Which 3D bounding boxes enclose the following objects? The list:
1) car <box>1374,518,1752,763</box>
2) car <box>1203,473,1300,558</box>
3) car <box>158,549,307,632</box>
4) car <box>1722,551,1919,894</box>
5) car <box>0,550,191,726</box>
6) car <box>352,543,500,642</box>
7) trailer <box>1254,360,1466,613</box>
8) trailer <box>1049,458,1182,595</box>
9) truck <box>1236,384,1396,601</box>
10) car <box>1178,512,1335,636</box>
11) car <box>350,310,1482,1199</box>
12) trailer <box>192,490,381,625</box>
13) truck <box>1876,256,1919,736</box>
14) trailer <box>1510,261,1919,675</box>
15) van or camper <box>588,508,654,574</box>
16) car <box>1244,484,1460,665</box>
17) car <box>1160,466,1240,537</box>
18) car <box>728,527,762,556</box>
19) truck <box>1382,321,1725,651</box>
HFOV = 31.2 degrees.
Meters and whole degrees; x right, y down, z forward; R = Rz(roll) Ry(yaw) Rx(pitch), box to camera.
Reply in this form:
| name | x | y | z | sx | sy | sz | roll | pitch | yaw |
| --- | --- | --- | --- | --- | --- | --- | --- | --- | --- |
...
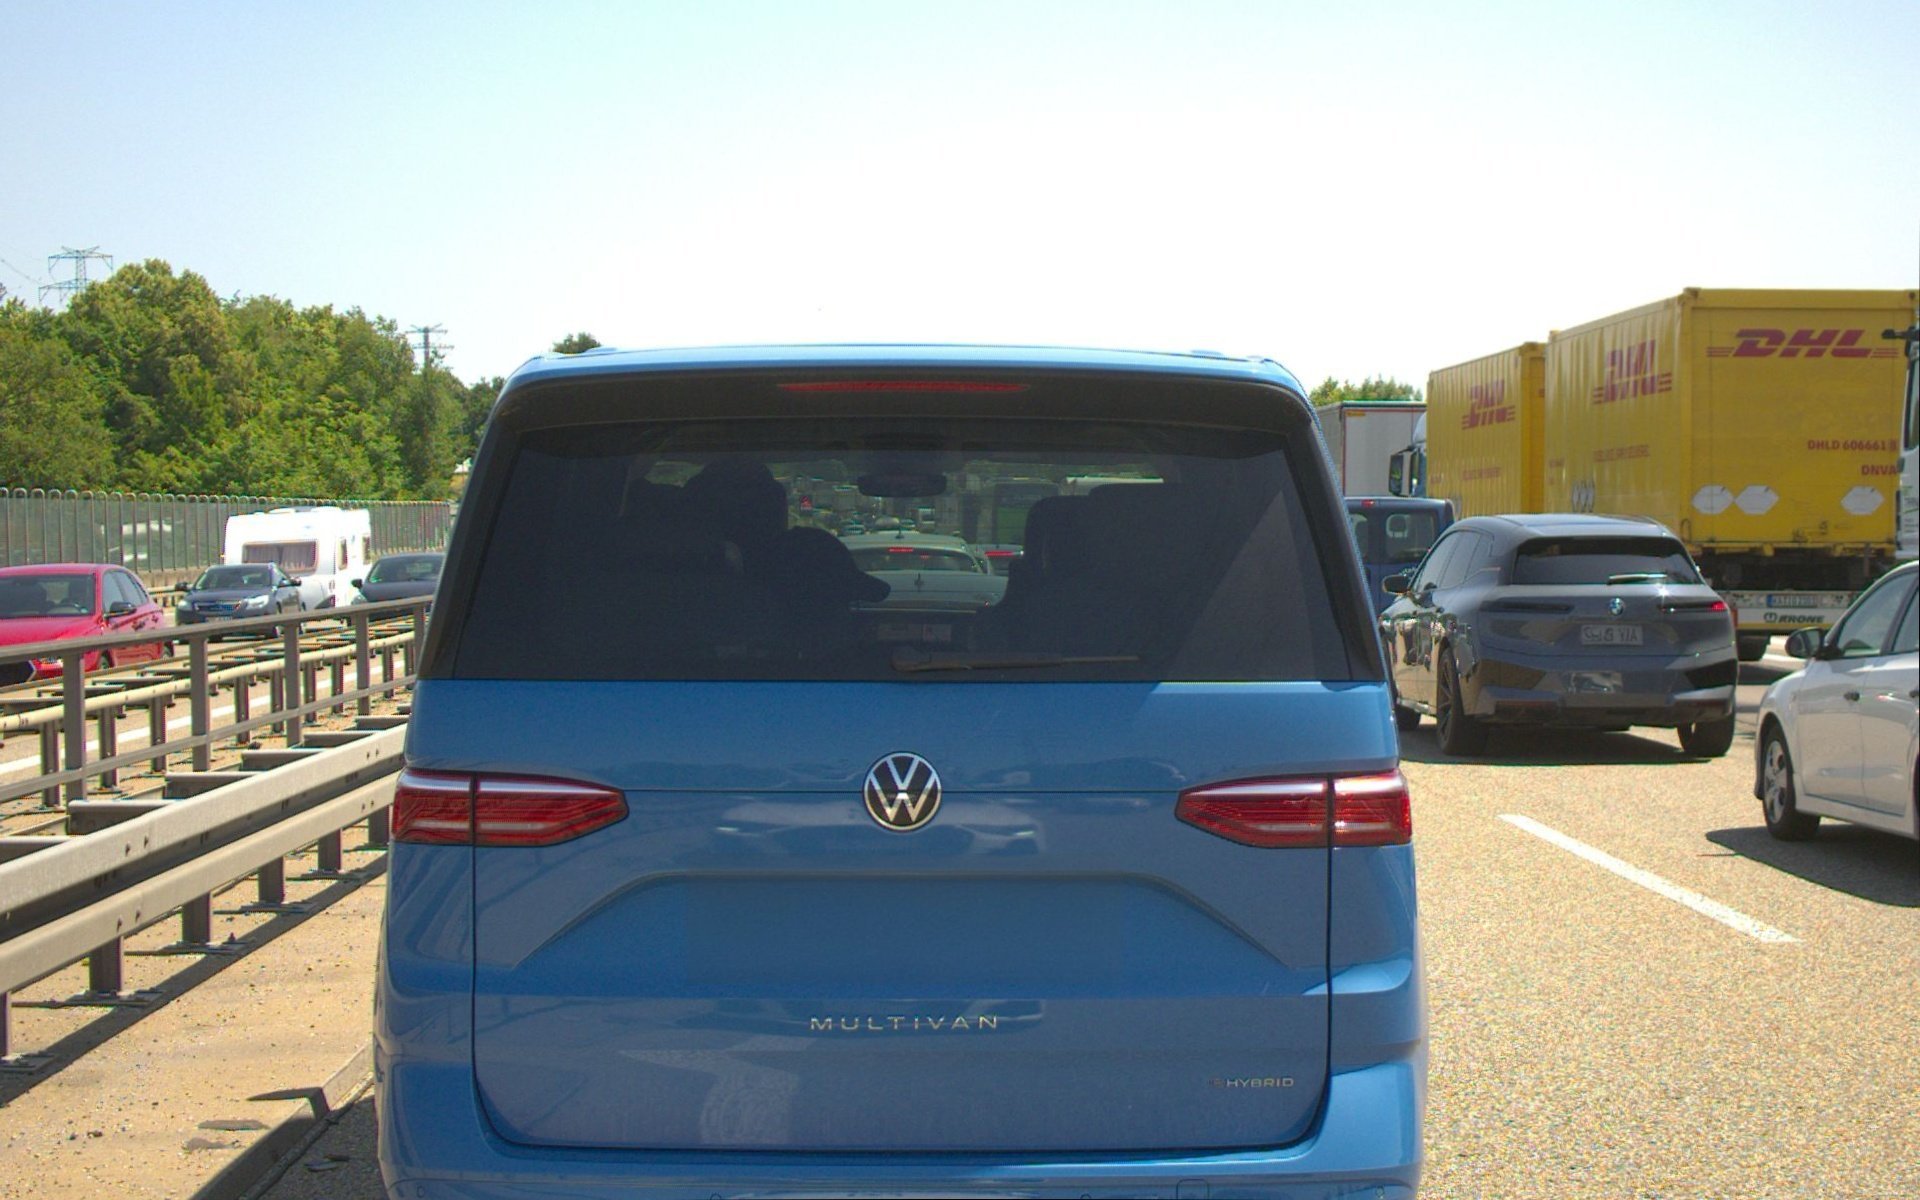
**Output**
| name | x | y | z | sx | sy | sz | roll | pitch | yaw |
| --- | --- | --- | --- | --- | --- | --- | --- | --- | --- |
| car | 4.300 | 0.229 | 25.193 | 1.962 | 1.639 | 4.293 | 0 | 1 | -1 |
| car | 7.110 | -2.039 | 84.181 | 1.993 | 2.007 | 4.000 | 1 | 1 | -1 |
| car | -13.558 | -0.210 | 64.300 | 1.775 | 1.403 | 4.683 | -2 | 1 | -1 |
| car | 4.998 | 0.505 | 16.243 | 1.788 | 1.450 | 4.293 | 0 | 1 | -1 |
| car | -8.520 | 0.340 | 31.916 | 1.791 | 1.473 | 3.989 | -4 | 1 | 0 |
| car | -8.676 | -0.149 | 56.171 | 1.668 | 1.443 | 4.000 | -3 | 1 | 1 |
| trailer | 7.675 | -2.152 | 67.422 | 2.637 | 4.501 | 11.302 | 1 | 1 | -1 |
| trailer | 3.574 | -1.691 | 81.356 | 2.569 | 2.980 | 10.663 | 1 | 1 | 0 |
| truck | 7.644 | -2.265 | 74.629 | 2.667 | 4.469 | 6.850 | 1 | 1 | 0 |
| car | 4.449 | -0.422 | 52.088 | 1.993 | 1.809 | 4.000 | 0 | 1 | -1 |
| car | -0.093 | 0.436 | 7.625 | 1.820 | 1.851 | 4.075 | 1 | 1 | -1 |
| trailer | -13.619 | -0.895 | 70.032 | 2.493 | 2.540 | 6.774 | -2 | 1 | -1 |
| truck | 8.682 | -0.703 | 21.716 | 2.656 | 3.635 | 11.011 | 0 | 1 | -1 |
| trailer | 8.615 | -1.410 | 39.864 | 2.864 | 4.224 | 9.012 | 1 | 1 | -1 |
| van or camper | -16.206 | -2.833 | 164.813 | 2.422 | 3.013 | 7.027 | -2 | 1 | 0 |
| car | 4.493 | -0.327 | 39.978 | 1.962 | 1.986 | 4.293 | 0 | 1 | -1 |
| car | 7.044 | -2.874 | 101.192 | 1.993 | 2.007 | 4.461 | -1 | 1 | 0 |
| car | -13.345 | -3.642 | 213.398 | 1.867 | 1.694 | 4.431 | -2 | 1 | -2 |
| truck | 8.344 | -1.560 | 49.928 | 2.836 | 4.228 | 11.011 | 1 | 1 | -1 |
